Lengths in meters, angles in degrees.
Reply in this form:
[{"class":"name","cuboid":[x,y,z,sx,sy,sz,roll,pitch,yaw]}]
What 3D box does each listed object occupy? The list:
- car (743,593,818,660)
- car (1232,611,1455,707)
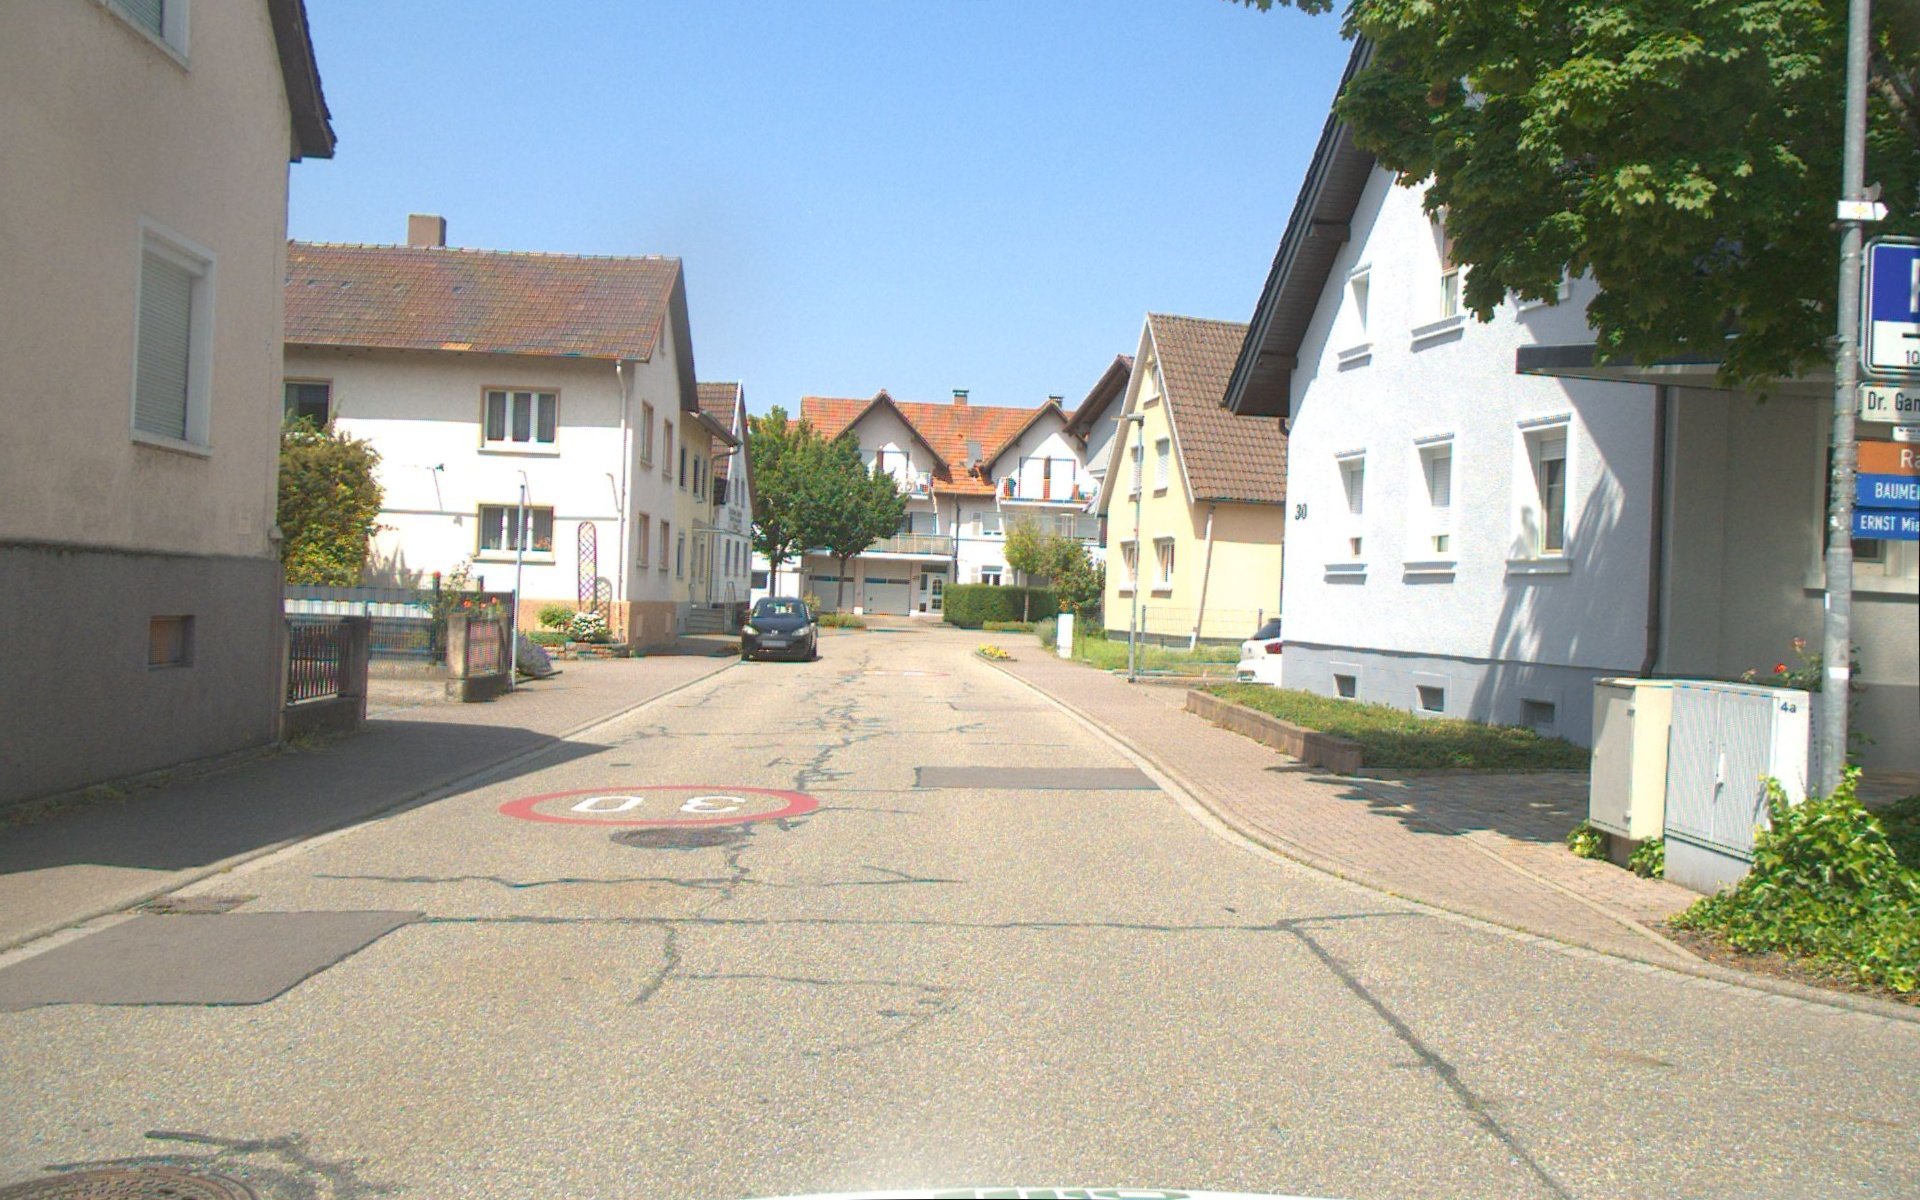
[{"class":"car","cuboid":[-4.296,0.606,39.940,1.594,1.512,3.997,1,0,-4]},{"class":"car","cuboid":[5.785,0.882,25.082,2.987,1.369,1.419,1,-1,-10]}]
